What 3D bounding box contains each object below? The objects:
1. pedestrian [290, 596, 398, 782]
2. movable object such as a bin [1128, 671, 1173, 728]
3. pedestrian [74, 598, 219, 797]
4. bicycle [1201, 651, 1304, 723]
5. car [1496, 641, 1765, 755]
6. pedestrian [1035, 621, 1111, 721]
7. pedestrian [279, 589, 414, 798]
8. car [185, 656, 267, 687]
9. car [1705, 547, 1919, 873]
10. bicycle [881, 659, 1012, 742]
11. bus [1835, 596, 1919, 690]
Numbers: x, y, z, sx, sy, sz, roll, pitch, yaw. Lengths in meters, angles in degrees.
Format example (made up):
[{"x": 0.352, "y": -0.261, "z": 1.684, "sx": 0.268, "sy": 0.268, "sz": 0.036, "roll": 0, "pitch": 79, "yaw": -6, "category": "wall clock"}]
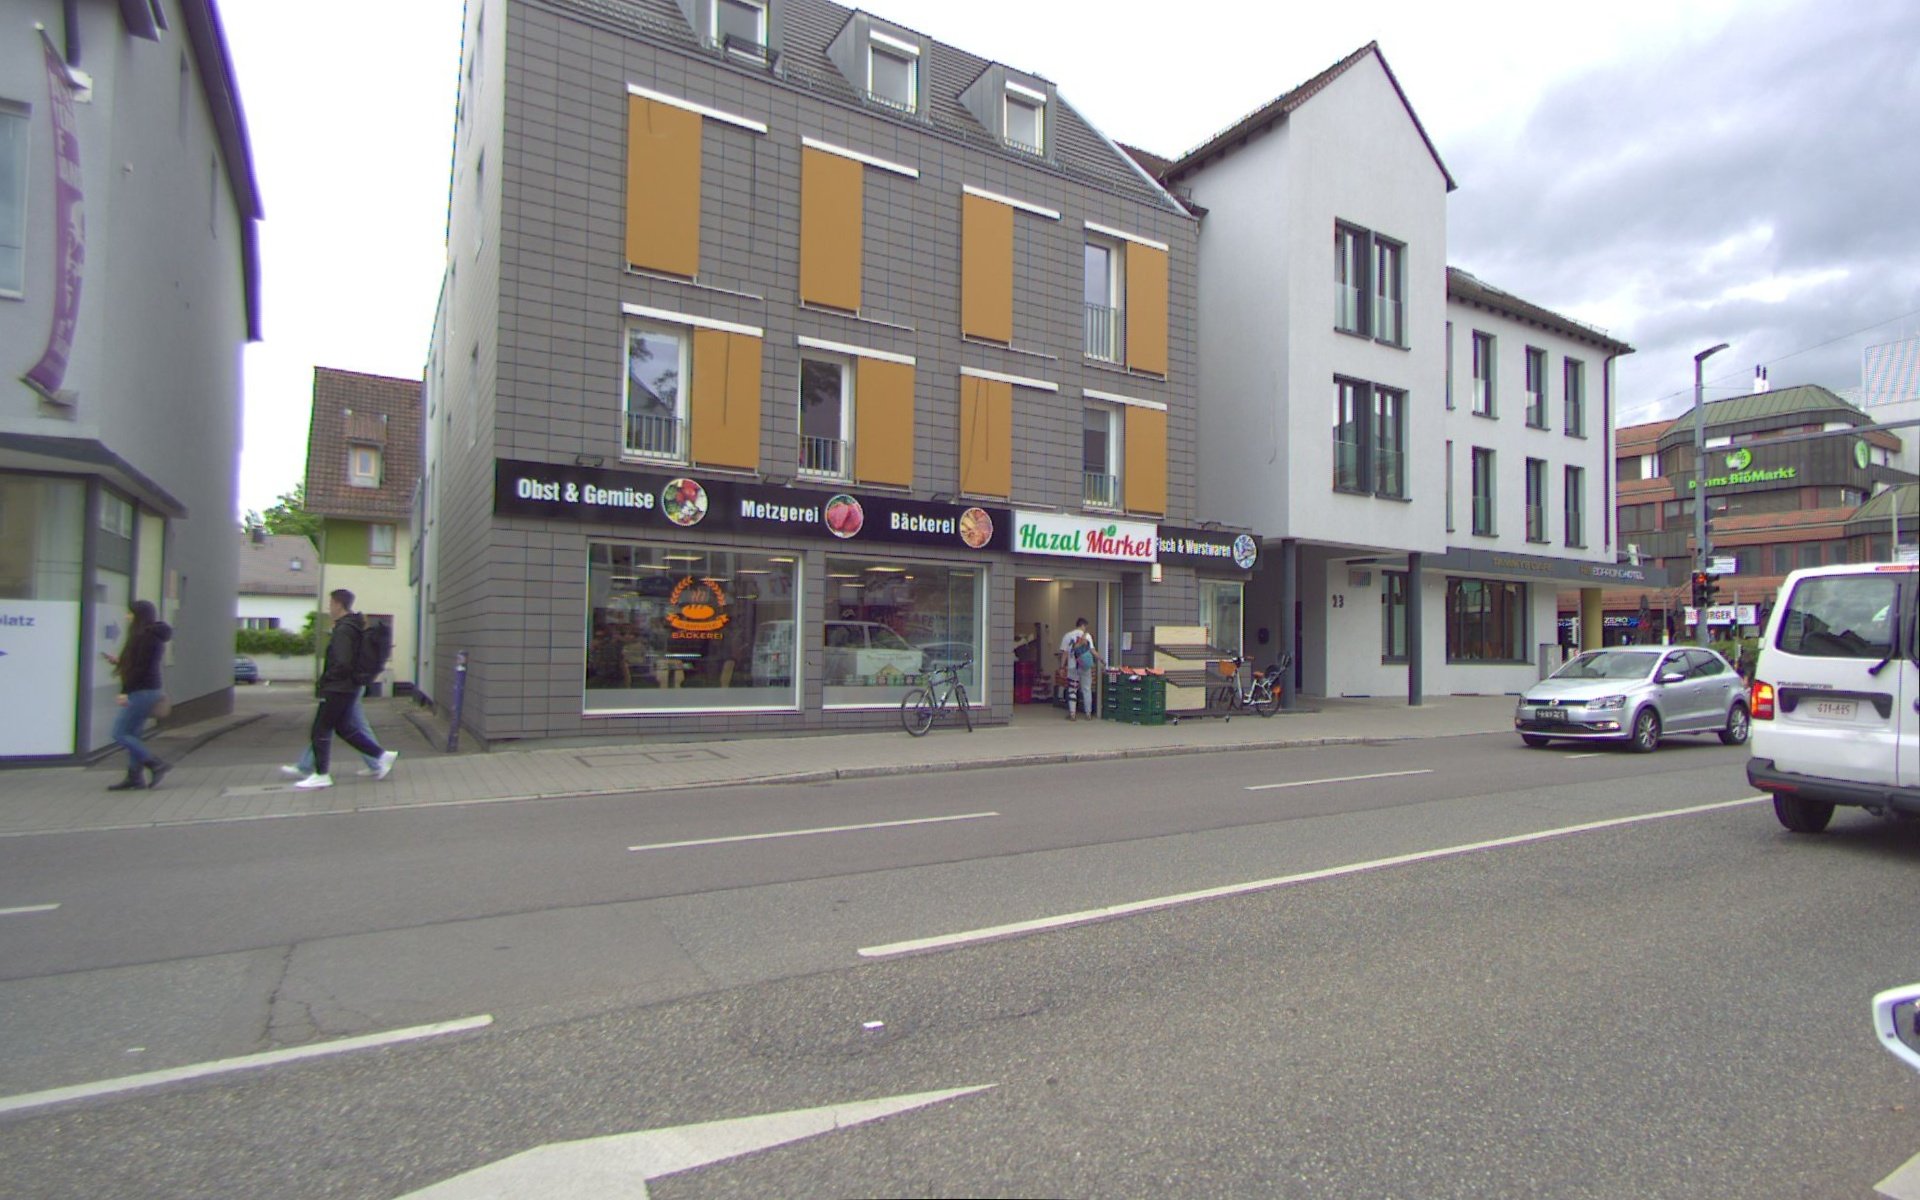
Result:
[{"x": -6.253, "y": 0.882, "z": 10.247, "sx": 0.859, "sy": 1.805, "sz": 0.704, "roll": 1, "pitch": -2, "yaw": -29, "category": "pedestrian"}, {"x": 3.199, "y": 1.665, "z": 16.880, "sx": 0.501, "sy": 0.911, "sz": 0.548, "roll": 1, "pitch": -2, "yaw": -32, "category": "movable object such as a bin"}, {"x": -7.453, "y": 0.866, "z": 9.253, "sx": 0.859, "sy": 1.720, "sz": 0.800, "roll": 1, "pitch": -2, "yaw": -29, "category": "pedestrian"}, {"x": 5.351, "y": 1.555, "z": 18.311, "sx": 2.096, "sy": 1.248, "sz": 0.579, "roll": 2, "pitch": -2, "yaw": -32, "category": "bicycle"}, {"x": 9.906, "y": 1.372, "z": 14.789, "sx": 3.989, "sy": 1.467, "sz": 1.750, "roll": 2, "pitch": -3, "yaw": -31, "category": "car"}, {"x": 1.948, "y": 1.198, "z": 17.346, "sx": 0.960, "sy": 1.665, "sz": 0.883, "roll": 2, "pitch": -2, "yaw": -31, "category": "pedestrian"}, {"x": -5.791, "y": 0.856, "z": 9.546, "sx": 1.015, "sy": 1.863, "sz": 0.704, "roll": 2, "pitch": -2, "yaw": -29, "category": "pedestrian"}, {"x": -37.602, "y": 3.630, "z": 51.454, "sx": 3.715, "sy": 1.432, "sz": 1.650, "roll": 0, "pitch": -2, "yaw": 22, "category": "car"}, {"x": 7.978, "y": 0.747, "z": 7.686, "sx": 4.784, "sy": 2.040, "sz": 1.983, "roll": 2, "pitch": -1, "yaw": -31, "category": "car"}, {"x": -0.185, "y": 1.441, "z": 14.665, "sx": 1.880, "sy": 1.115, "sz": 0.569, "roll": 2, "pitch": -2, "yaw": -31, "category": "bicycle"}, {"x": 39.742, "y": 1.673, "z": 39.213, "sx": 12.122, "sy": 3.370, "sz": 2.984, "roll": 1, "pitch": -4, "yaw": -21, "category": "bus"}]
